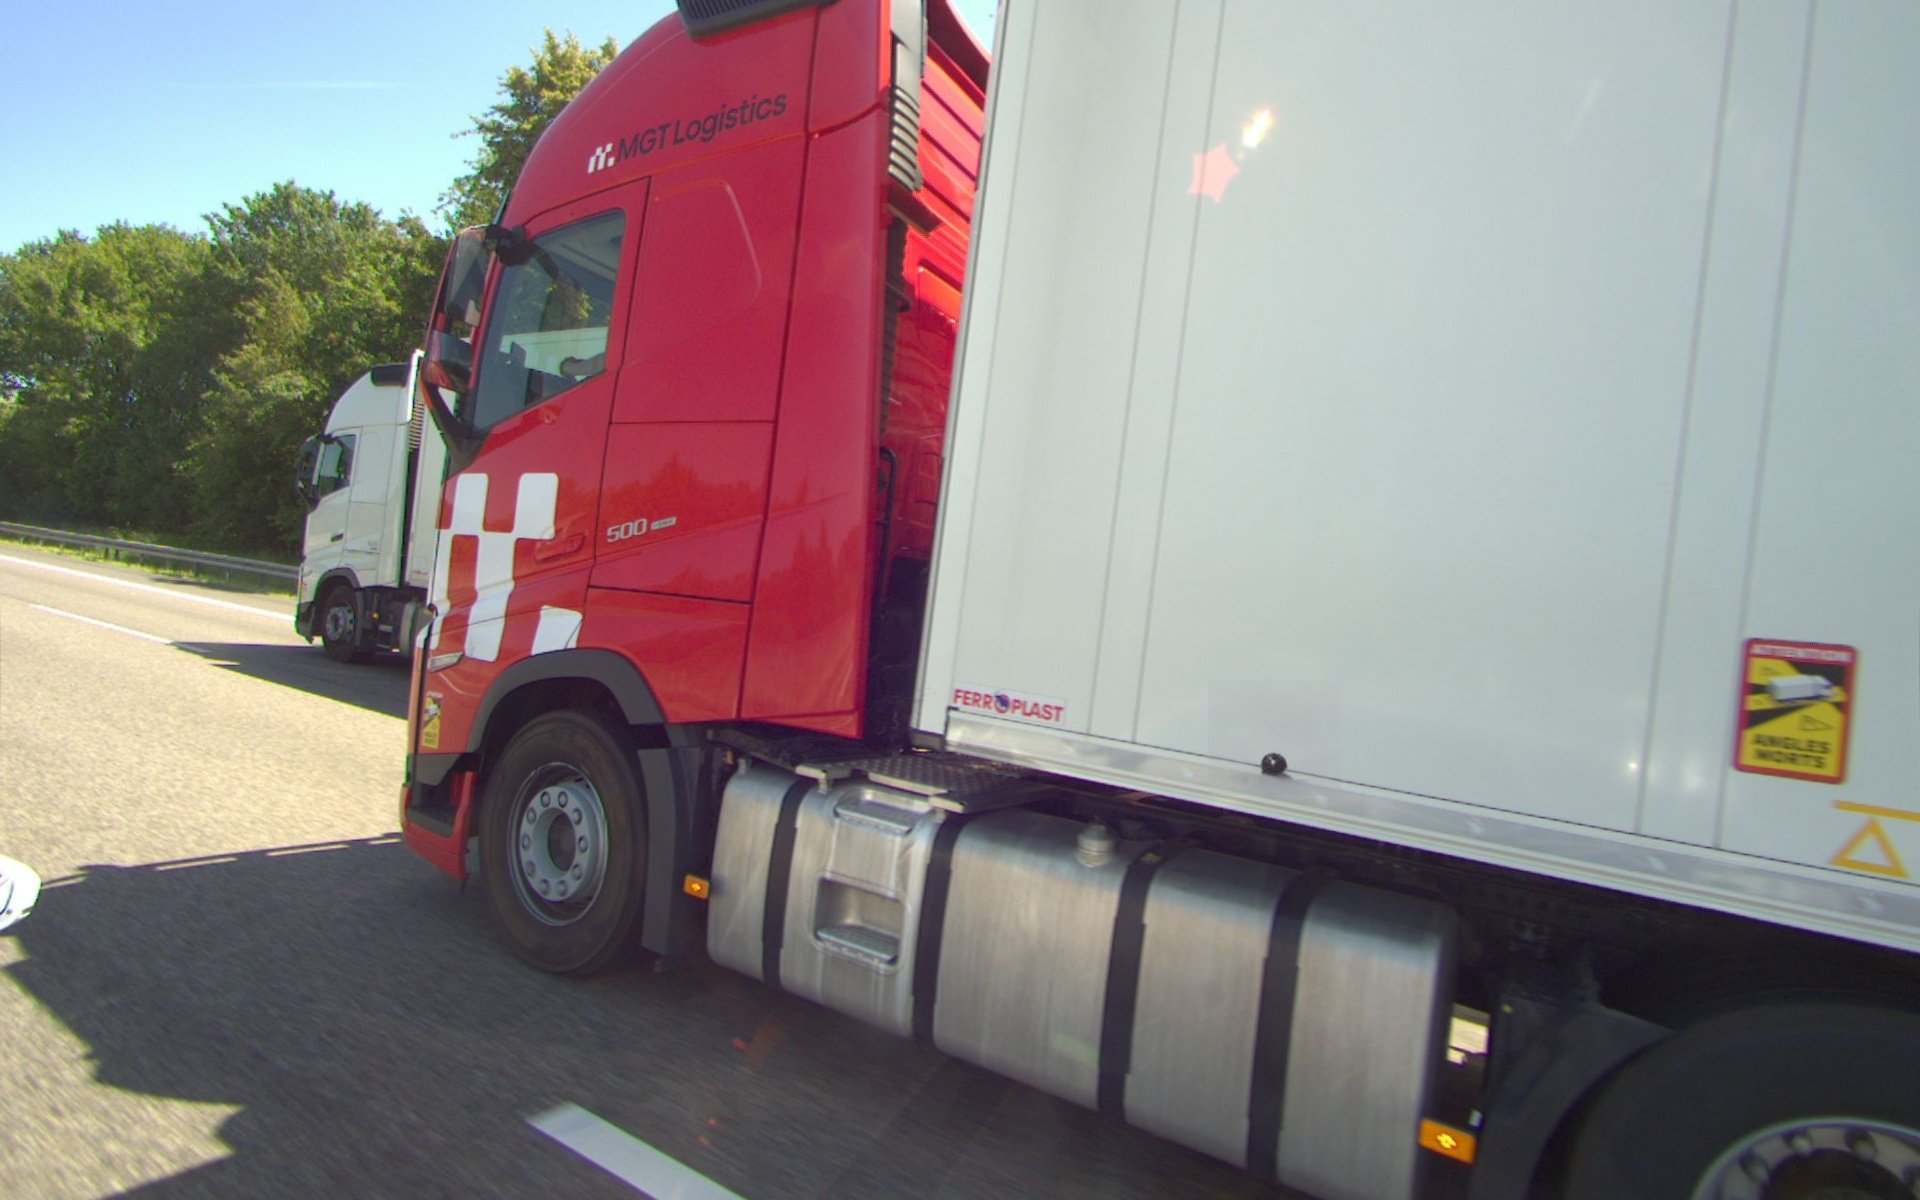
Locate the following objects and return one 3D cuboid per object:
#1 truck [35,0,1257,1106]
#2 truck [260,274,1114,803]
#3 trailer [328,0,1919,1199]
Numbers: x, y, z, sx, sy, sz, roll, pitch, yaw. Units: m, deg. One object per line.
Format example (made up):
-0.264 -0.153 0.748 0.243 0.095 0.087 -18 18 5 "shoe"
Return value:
-1.940 -0.728 5.654 6.000 4.033 2.946 6 -1 31 "truck"
-3.952 -0.823 12.032 10.798 4.141 3.030 6 -1 33 "truck"
5.119 0.037 1.271 15.931 4.065 2.943 6 -1 31 "trailer"
